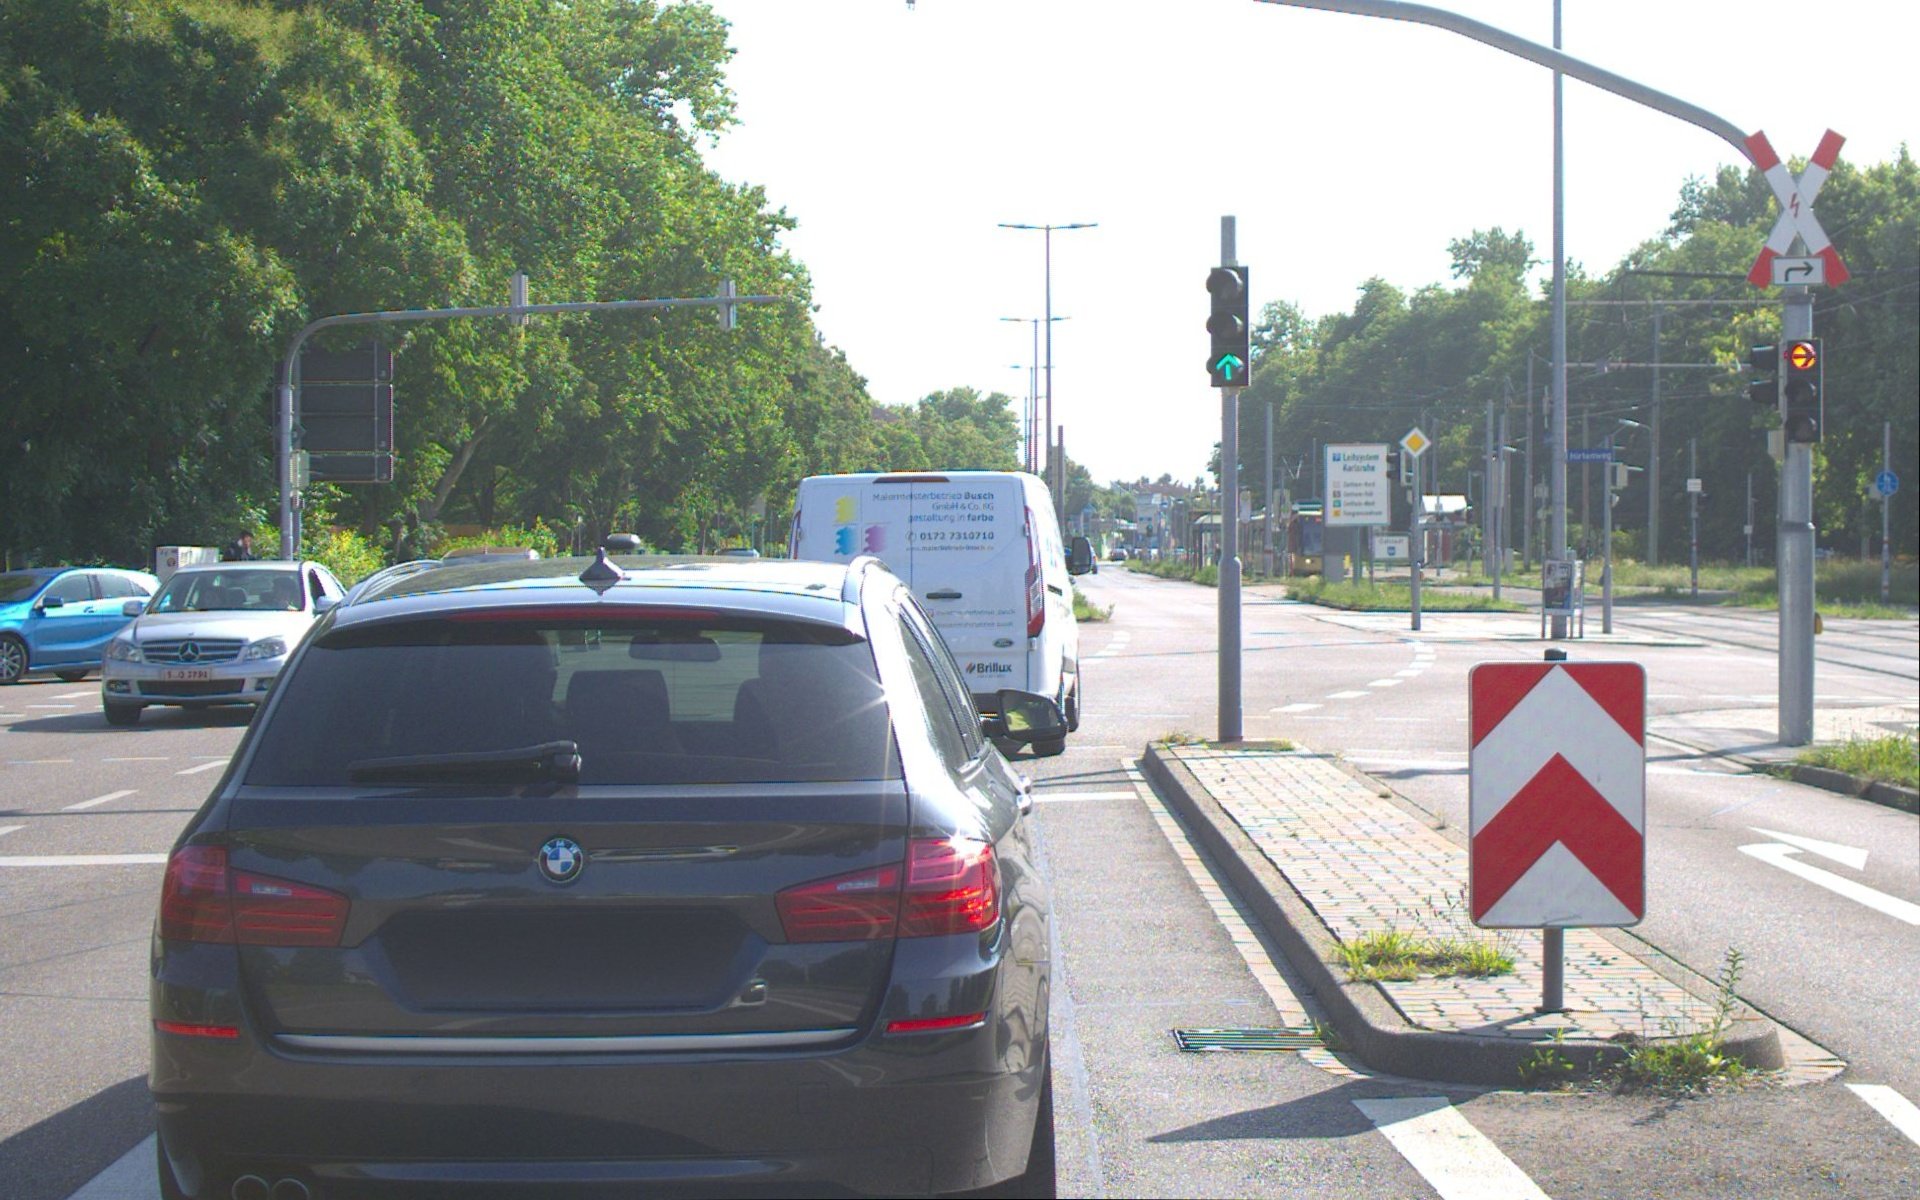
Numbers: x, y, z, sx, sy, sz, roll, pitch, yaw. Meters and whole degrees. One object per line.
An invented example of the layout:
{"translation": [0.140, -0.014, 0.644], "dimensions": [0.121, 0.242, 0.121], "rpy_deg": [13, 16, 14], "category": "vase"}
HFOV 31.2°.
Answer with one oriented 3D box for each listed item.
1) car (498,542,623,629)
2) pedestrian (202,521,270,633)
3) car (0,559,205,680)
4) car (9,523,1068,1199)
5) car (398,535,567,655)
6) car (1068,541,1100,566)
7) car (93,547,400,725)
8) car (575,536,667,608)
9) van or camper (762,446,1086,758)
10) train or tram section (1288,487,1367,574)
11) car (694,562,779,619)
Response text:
{"translation": [-7.076, -0.288, 61.259], "dimensions": [1.888, 1.469, 4.100], "rpy_deg": [-1, 1, -2], "category": "car"}
{"translation": [-11.472, -0.369, 54.496], "dimensions": [0.816, 1.746, 0.931], "rpy_deg": [0, 1, 5], "category": "pedestrian"}
{"translation": [-11.439, 0.216, 42.179], "dimensions": [1.783, 1.410, 4.237], "rpy_deg": [1, 1, 33], "category": "car"}
{"translation": [-0.781, 0.575, 8.230], "dimensions": [1.903, 1.500, 4.065], "rpy_deg": [0, 1, -1], "category": "car"}
{"translation": [-6.620, -0.108, 48.047], "dimensions": [1.745, 1.556, 4.000], "rpy_deg": [-2, 1, 0], "category": "car"}
{"translation": [7.368, -2.774, 205.083], "dimensions": [1.793, 1.481, 3.900], "rpy_deg": [0, 1, 1], "category": "car"}
{"translation": [-6.482, 0.274, 31.690], "dimensions": [1.702, 1.460, 4.369], "rpy_deg": [-1, 1, 3], "category": "car"}
{"translation": [-7.462, -0.640, 75.919], "dimensions": [1.788, 1.515, 4.001], "rpy_deg": [-1, 1, -2], "category": "car"}
{"translation": [-0.164, -0.027, 25.365], "dimensions": [1.994, 2.089, 4.598], "rpy_deg": [0, 1, 4], "category": "van or camper"}
{"translation": [16.142, -2.984, 151.740], "dimensions": [2.796, 3.606, 12.954], "rpy_deg": [1, 0, 3], "category": "train or tram section"}
{"translation": [-6.742, -0.303, 104.012], "dimensions": [1.989, 1.653, 4.384], "rpy_deg": [1, 1, 4], "category": "car"}
